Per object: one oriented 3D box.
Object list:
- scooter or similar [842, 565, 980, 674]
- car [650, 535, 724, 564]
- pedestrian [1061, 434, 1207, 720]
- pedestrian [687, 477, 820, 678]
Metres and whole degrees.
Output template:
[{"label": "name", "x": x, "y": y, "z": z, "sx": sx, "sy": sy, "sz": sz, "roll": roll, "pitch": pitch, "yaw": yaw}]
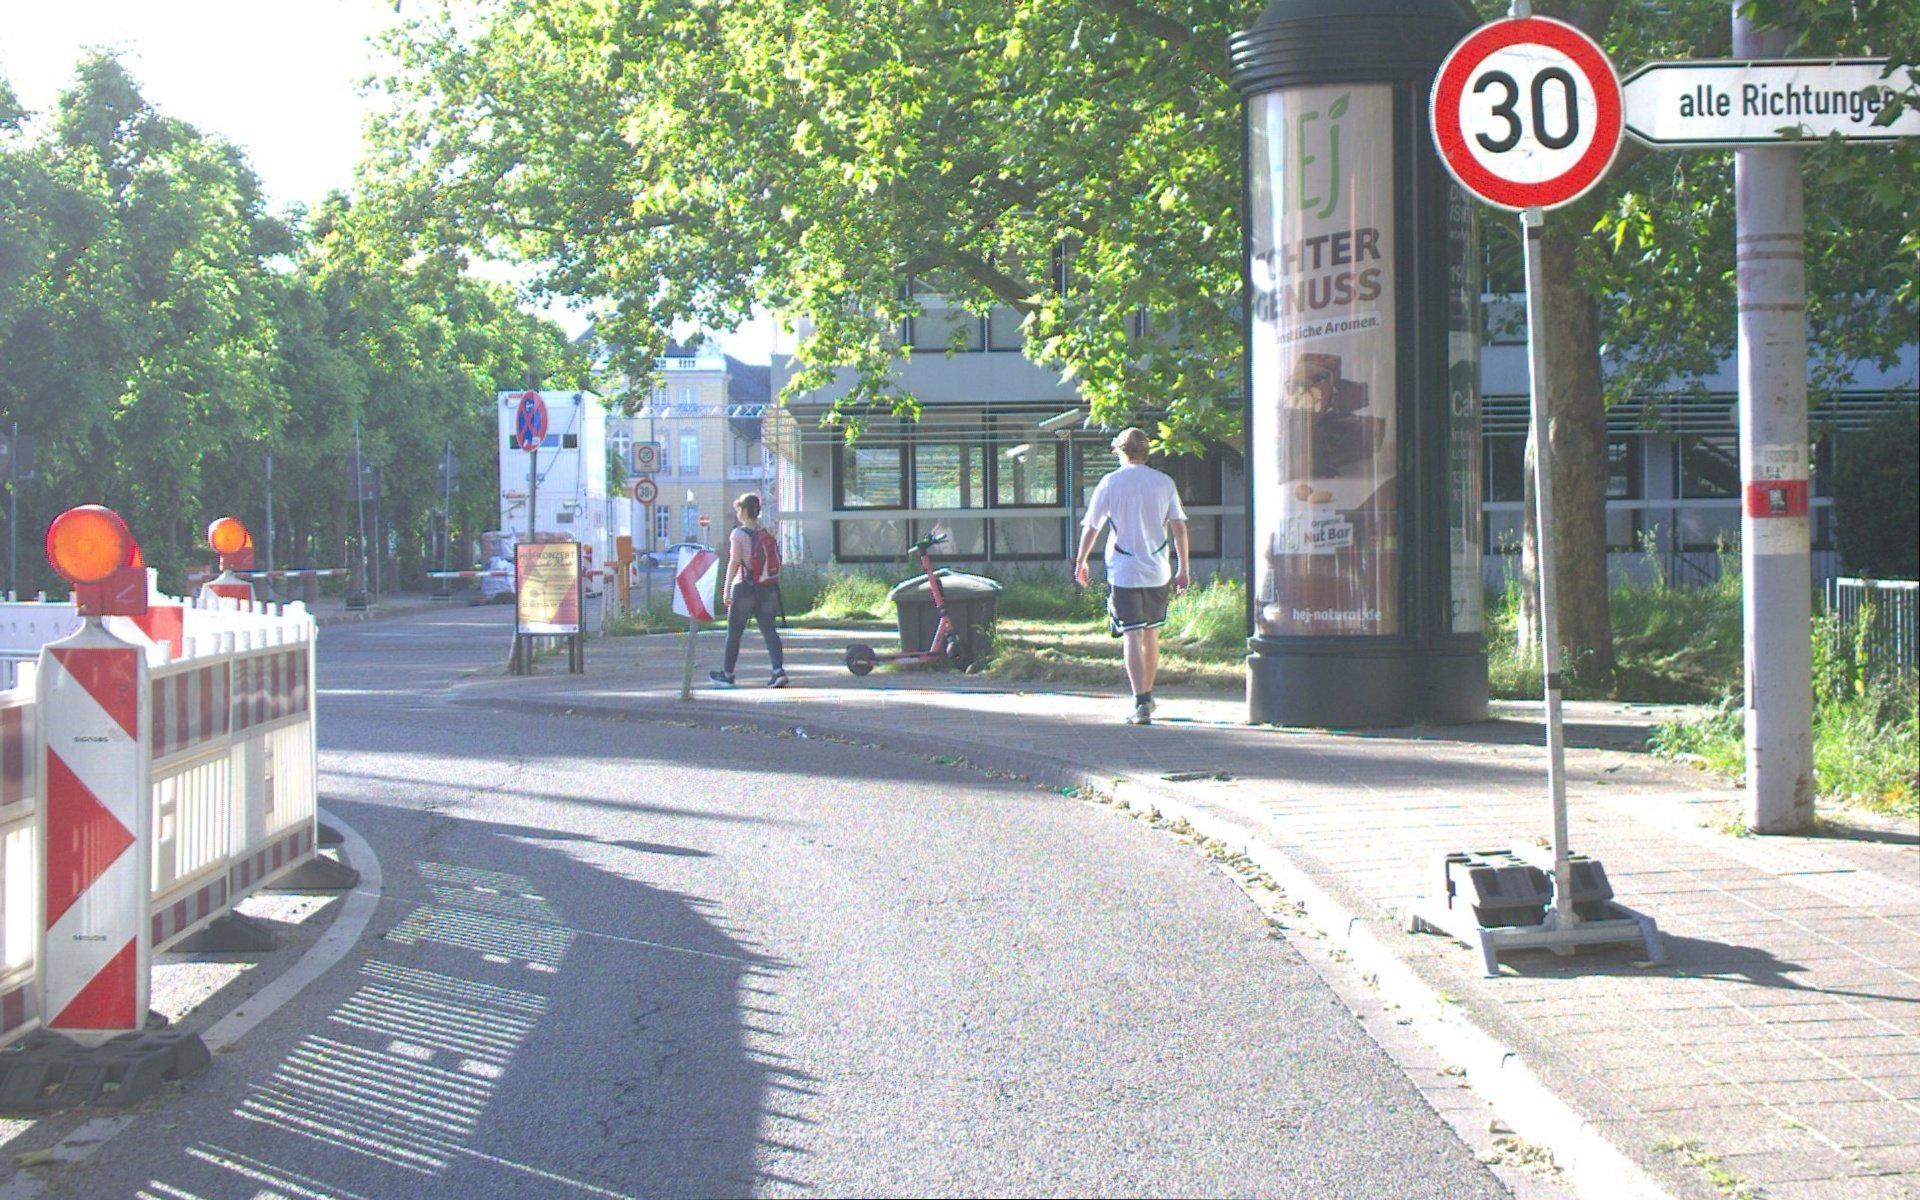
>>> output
[{"label": "scooter or similar", "x": -0.436, "y": 0.171, "z": 30.414, "sx": 1.146, "sy": 0.911, "sz": 0.419, "roll": -2, "pitch": 0, "yaw": -8}, {"label": "car", "x": -17.222, "y": -3.194, "z": 216.878, "sx": 4.557, "sy": 1.784, "sz": 2.000, "roll": 0, "pitch": 1, "yaw": -2}, {"label": "pedestrian", "x": 1.121, "y": -0.155, "z": 22.421, "sx": 0.745, "sy": 1.806, "sz": 1.134, "roll": 1, "pitch": 1, "yaw": -6}, {"label": "pedestrian", "x": -1.701, "y": -0.188, "z": 28.289, "sx": 0.708, "sy": 1.618, "sz": 0.939, "roll": -1, "pitch": 0, "yaw": -32}]
